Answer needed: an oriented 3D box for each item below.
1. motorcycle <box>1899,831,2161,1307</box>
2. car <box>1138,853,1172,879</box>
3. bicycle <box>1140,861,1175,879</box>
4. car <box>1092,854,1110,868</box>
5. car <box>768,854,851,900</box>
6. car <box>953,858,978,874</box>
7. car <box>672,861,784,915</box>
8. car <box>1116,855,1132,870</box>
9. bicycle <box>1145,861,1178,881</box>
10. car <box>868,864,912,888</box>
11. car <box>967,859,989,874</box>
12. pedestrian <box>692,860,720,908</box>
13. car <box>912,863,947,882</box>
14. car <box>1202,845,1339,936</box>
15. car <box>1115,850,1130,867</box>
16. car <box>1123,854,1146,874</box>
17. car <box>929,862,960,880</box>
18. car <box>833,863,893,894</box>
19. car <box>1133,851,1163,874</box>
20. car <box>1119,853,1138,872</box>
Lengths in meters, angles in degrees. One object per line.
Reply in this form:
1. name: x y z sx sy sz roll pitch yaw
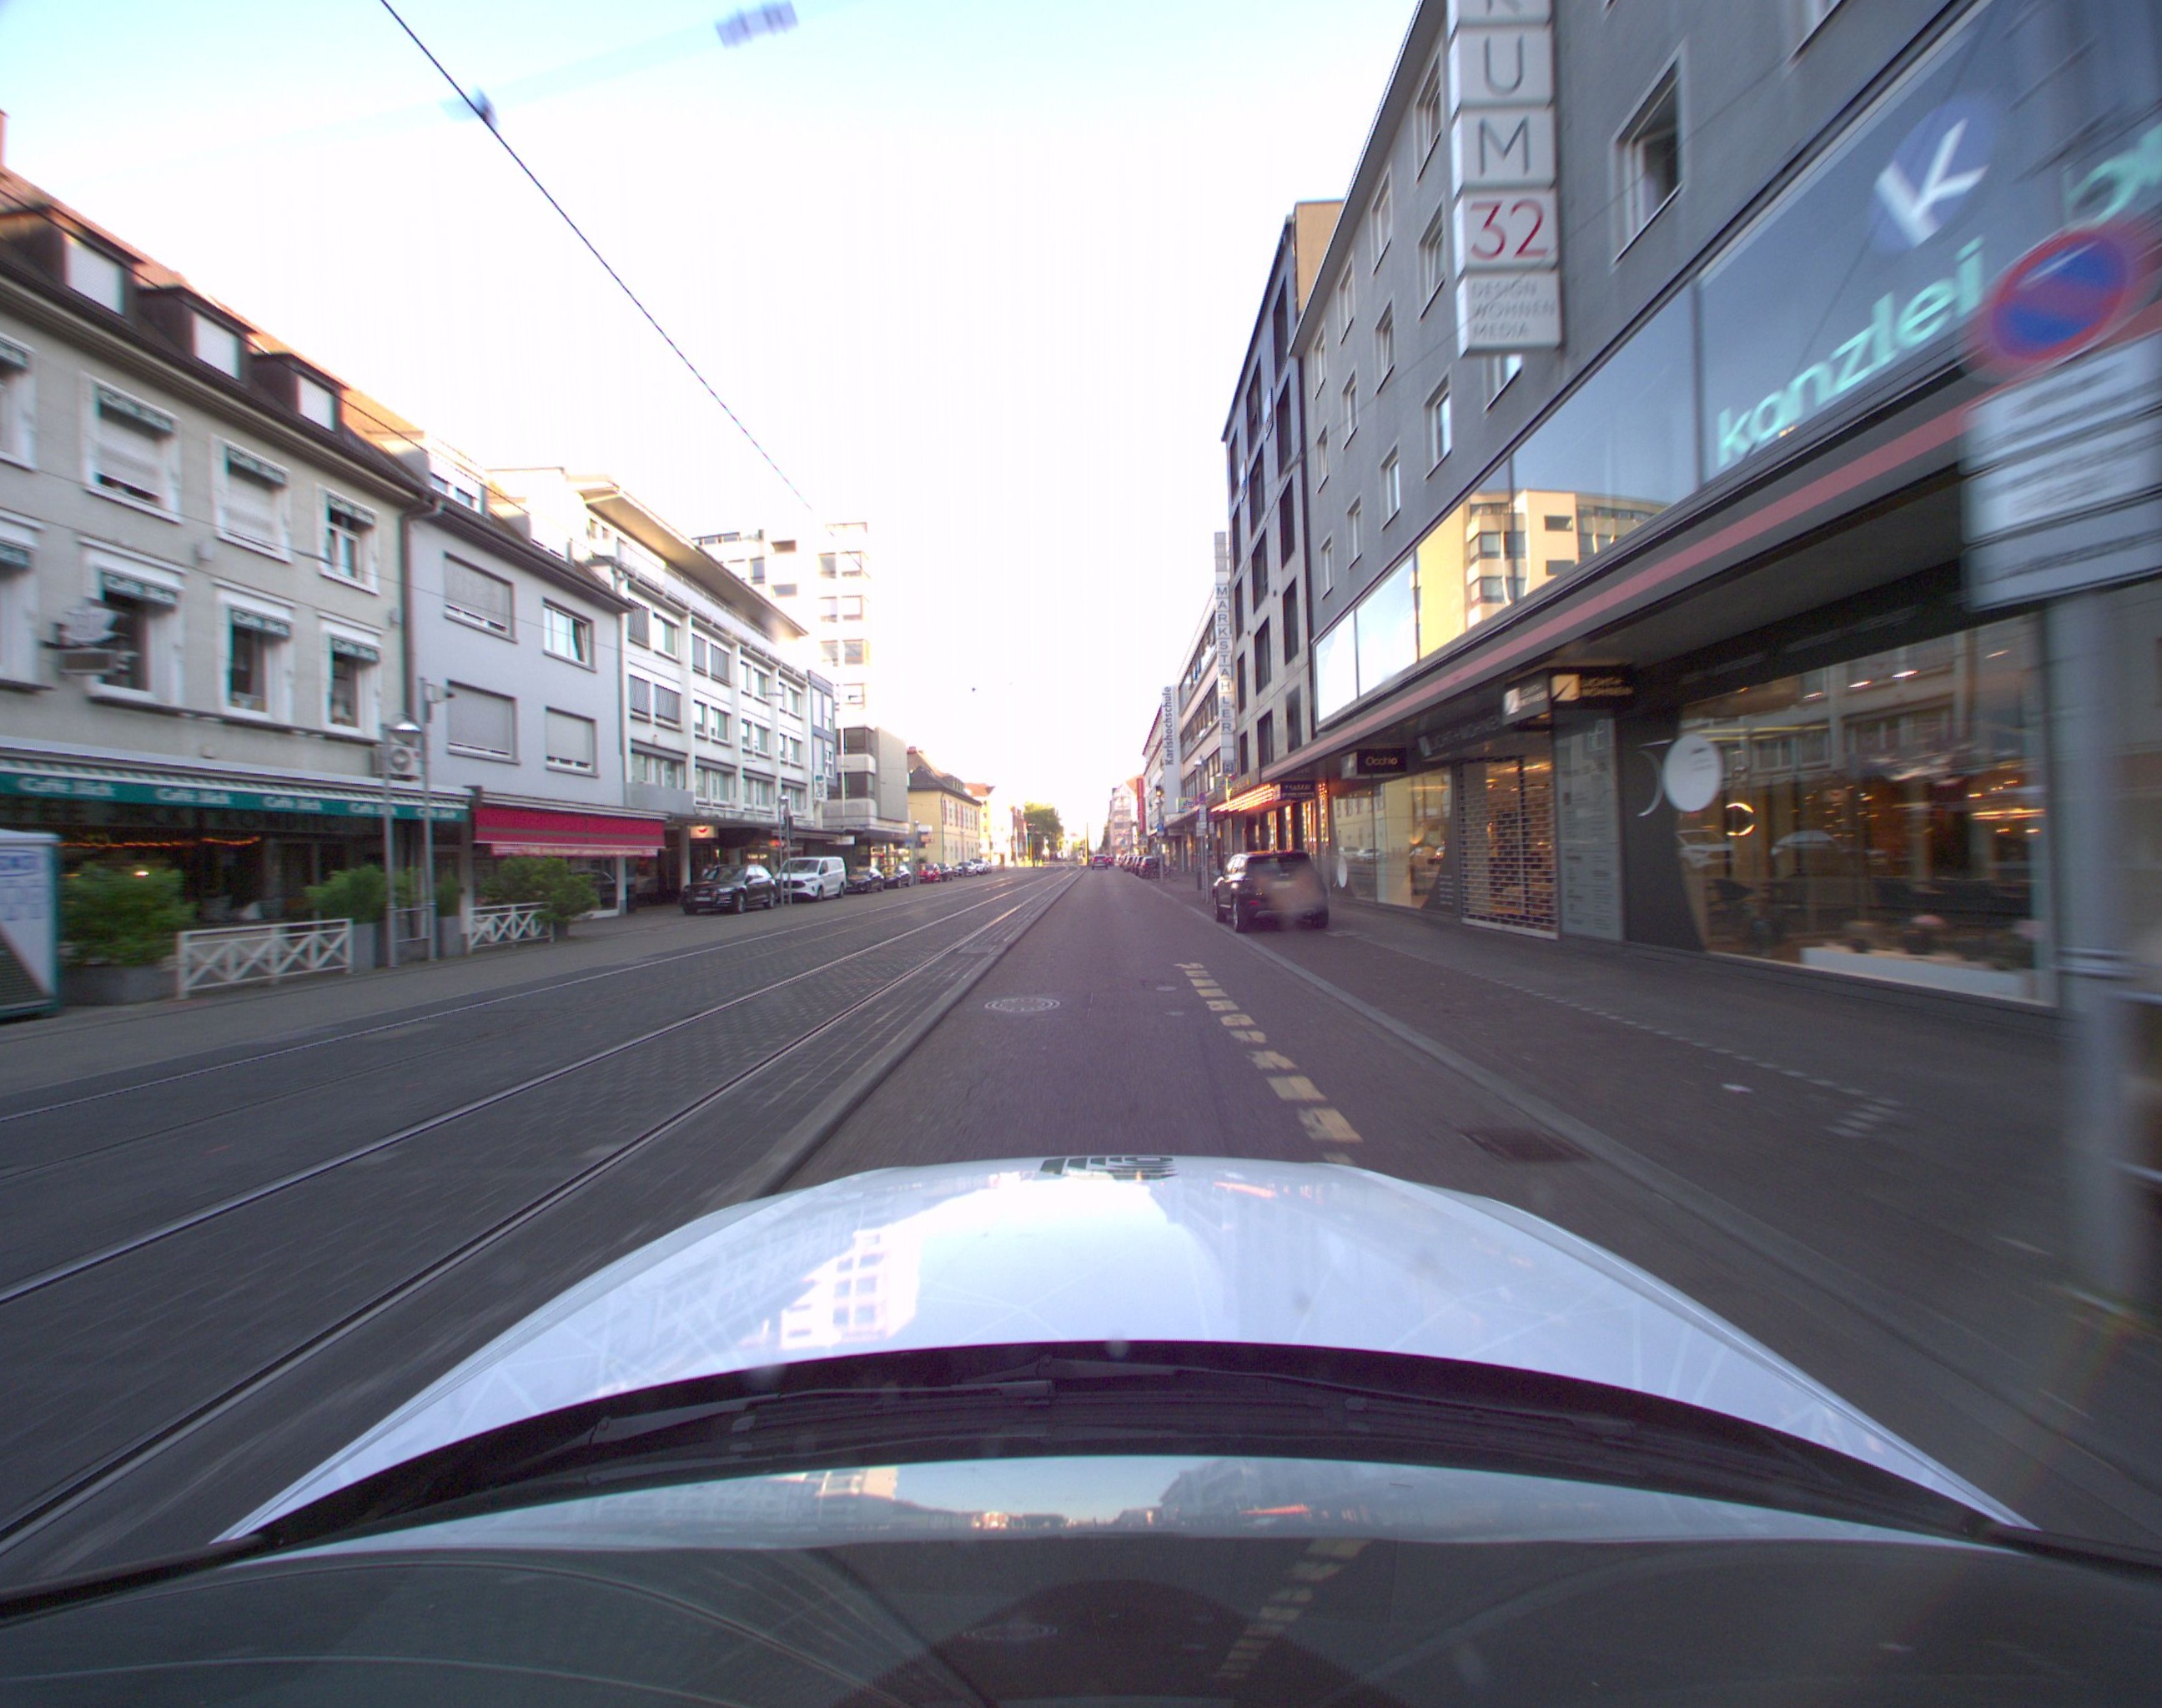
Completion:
1. motorcycle: 3.625 0.650 2.284 0.808 1.417 2.010 -3 0 10
2. car: 4.955 0.790 55.159 1.936 1.545 4.547 -4 0 2
3. bicycle: 4.854 1.004 51.554 2.113 1.090 0.591 -2 0 -2
4. car: 2.368 0.760 95.100 1.936 1.545 4.547 -1 0 2
5. car: -12.051 0.975 36.484 1.910 1.936 4.843 1 0 2
6. car: -11.198 1.153 79.356 1.785 1.449 3.892 1 0 1
7. car: -12.374 1.131 28.935 1.910 1.763 4.431 1 0 2
8. car: 5.428 1.068 103.376 1.936 1.703 4.547 -4 0 2
9. bicycle: 4.713 0.988 47.803 1.862 1.090 0.545 -2 0 0
10. car: -11.756 1.326 50.365 1.785 1.339 3.892 1 0 1
11. car: -10.737 1.305 84.910 1.785 1.449 3.892 1 0 1
12. pedestrian: -14.457 1.159 31.419 0.646 1.820 0.837 1 0 1
13. car: -11.203 1.355 60.494 1.785 1.339 3.892 1 0 1
14. car: 3.832 0.678 17.301 1.936 1.545 4.547 -4 0 2
15. car: 5.905 0.629 115.276 1.936 2.145 4.547 -4 0 2
16. car: 4.995 0.931 76.778 1.936 1.703 4.547 -4 0 2
17. car: -11.000 1.341 65.671 1.785 1.339 3.892 1 0 1
18. car: -11.723 1.272 44.062 1.911 1.521 4.630 1 0 1
19. car: 4.969 0.643 61.161 1.936 1.545 4.547 -4 0 2
20. car: 5.287 0.886 91.727 1.936 1.965 4.547 -4 0 2
